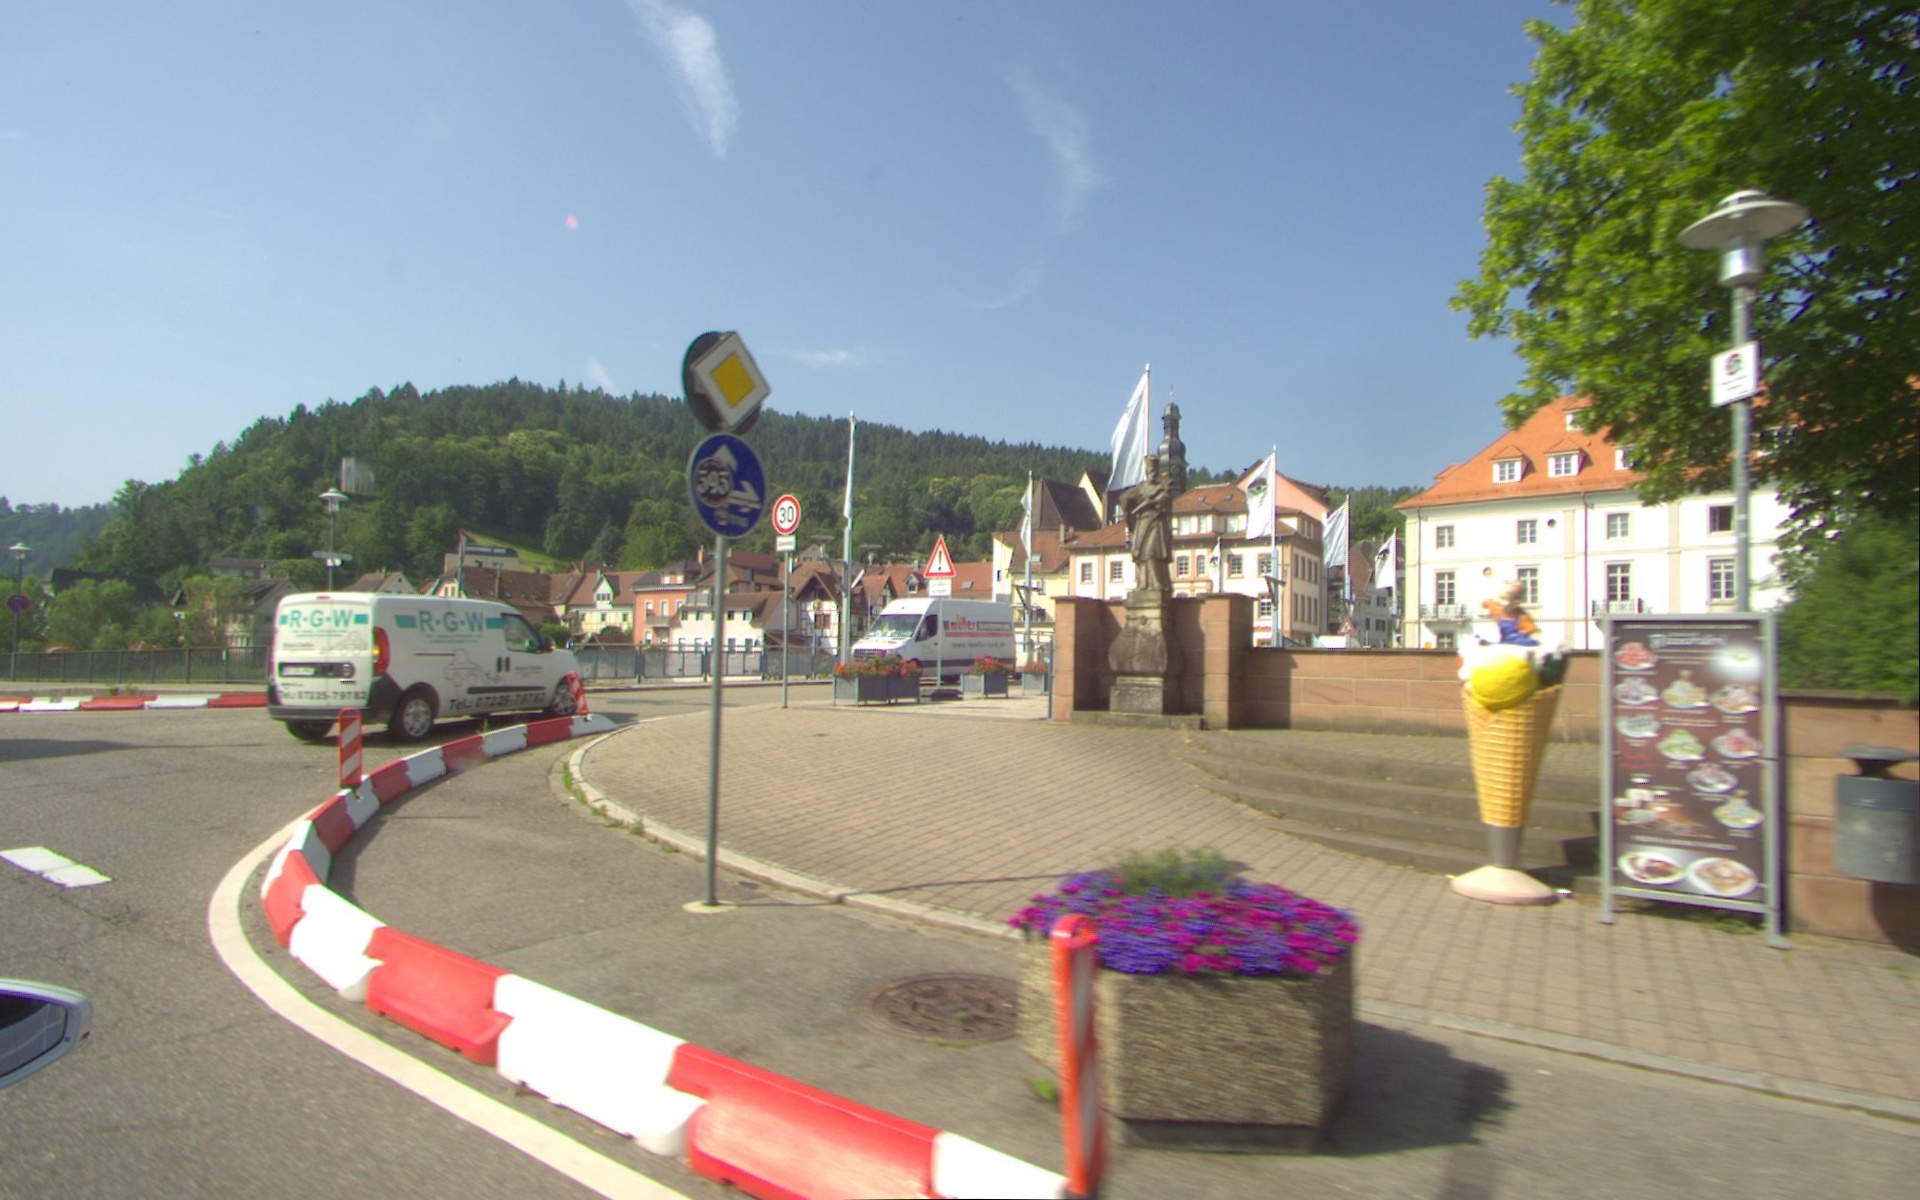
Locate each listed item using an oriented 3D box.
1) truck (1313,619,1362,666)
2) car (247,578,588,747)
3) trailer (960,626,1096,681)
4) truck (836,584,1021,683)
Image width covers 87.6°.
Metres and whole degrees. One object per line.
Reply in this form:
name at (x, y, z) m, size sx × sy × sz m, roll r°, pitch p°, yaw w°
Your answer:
truck at (22.587, 2.572, 59.806) m, size 1.841 × 2.617 × 4.240 m, roll 0°, pitch -3°, yaw 33°
car at (-7.268, 0.746, 14.007) m, size 1.815 × 1.931 × 4.312 m, roll 2°, pitch 0°, yaw 12°
trailer at (2.596, 1.913, 36.544) m, size 2.582 × 1.850 × 5.609 m, roll -1°, pitch -3°, yaw 33°
truck at (-0.756, 1.140, 31.085) m, size 2.082 × 2.732 × 7.100 m, roll -1°, pitch -4°, yaw 33°
